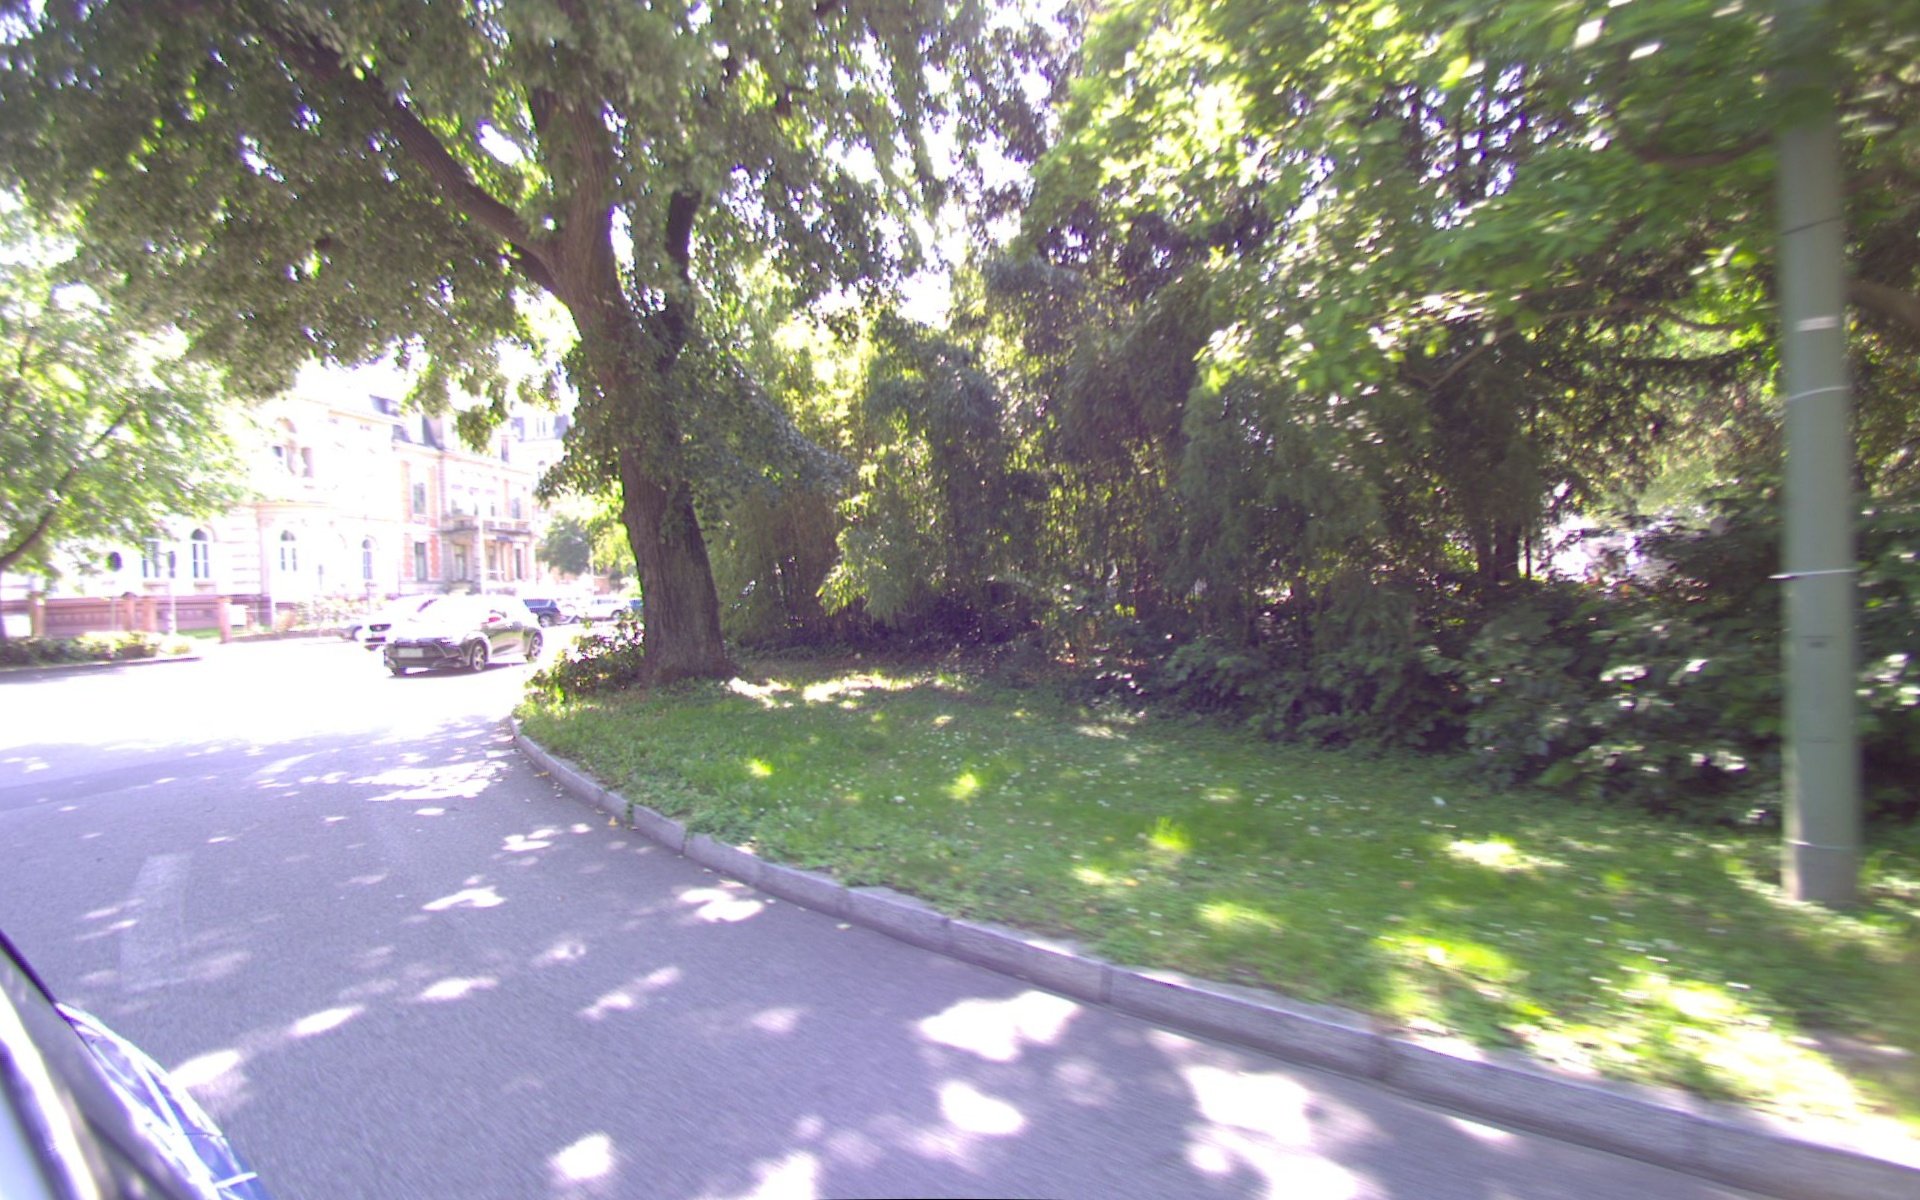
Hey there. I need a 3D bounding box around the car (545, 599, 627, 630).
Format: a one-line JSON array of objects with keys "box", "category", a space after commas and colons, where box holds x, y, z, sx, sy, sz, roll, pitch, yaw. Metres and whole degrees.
[{"box": [-22.198, 0.851, 60.185, 4.244, 1.642, 1.718, -3, 0, -34], "category": "car"}]

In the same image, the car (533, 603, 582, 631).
[{"box": [-22.599, 0.946, 56.823, 2.252, 1.494, 1.203, -3, 0, -39], "category": "car"}]

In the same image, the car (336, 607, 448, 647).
[{"box": [-24.227, 1.126, 43.275, 4.037, 1.472, 1.833, -3, 0, -29], "category": "car"}]

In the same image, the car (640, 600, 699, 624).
[{"box": [-20.381, 0.834, 70.931, 3.637, 1.429, 1.755, -3, 0, -29], "category": "car"}]

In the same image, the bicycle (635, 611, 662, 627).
[{"box": [-18.029, 1.092, 58.570, 0.588, 0.861, 1.735, -2, 0, 16], "category": "bicycle"}]

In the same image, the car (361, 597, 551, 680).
[{"box": [-10.199, 0.704, 20.875, 1.767, 1.462, 4.280, -1, 1, 0], "category": "car"}]

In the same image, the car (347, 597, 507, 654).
[{"box": [-15.944, 0.706, 30.553, 1.777, 1.523, 4.255, -1, 1, 18], "category": "car"}]

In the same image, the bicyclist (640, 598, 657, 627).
[{"box": [-18.029, 0.721, 58.607, 0.588, 1.618, 0.680, -2, 0, 18], "category": "bicyclist"}]

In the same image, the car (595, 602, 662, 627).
[{"box": [-21.026, 0.914, 64.265, 3.755, 1.427, 1.611, -3, 0, -29], "category": "car"}]
